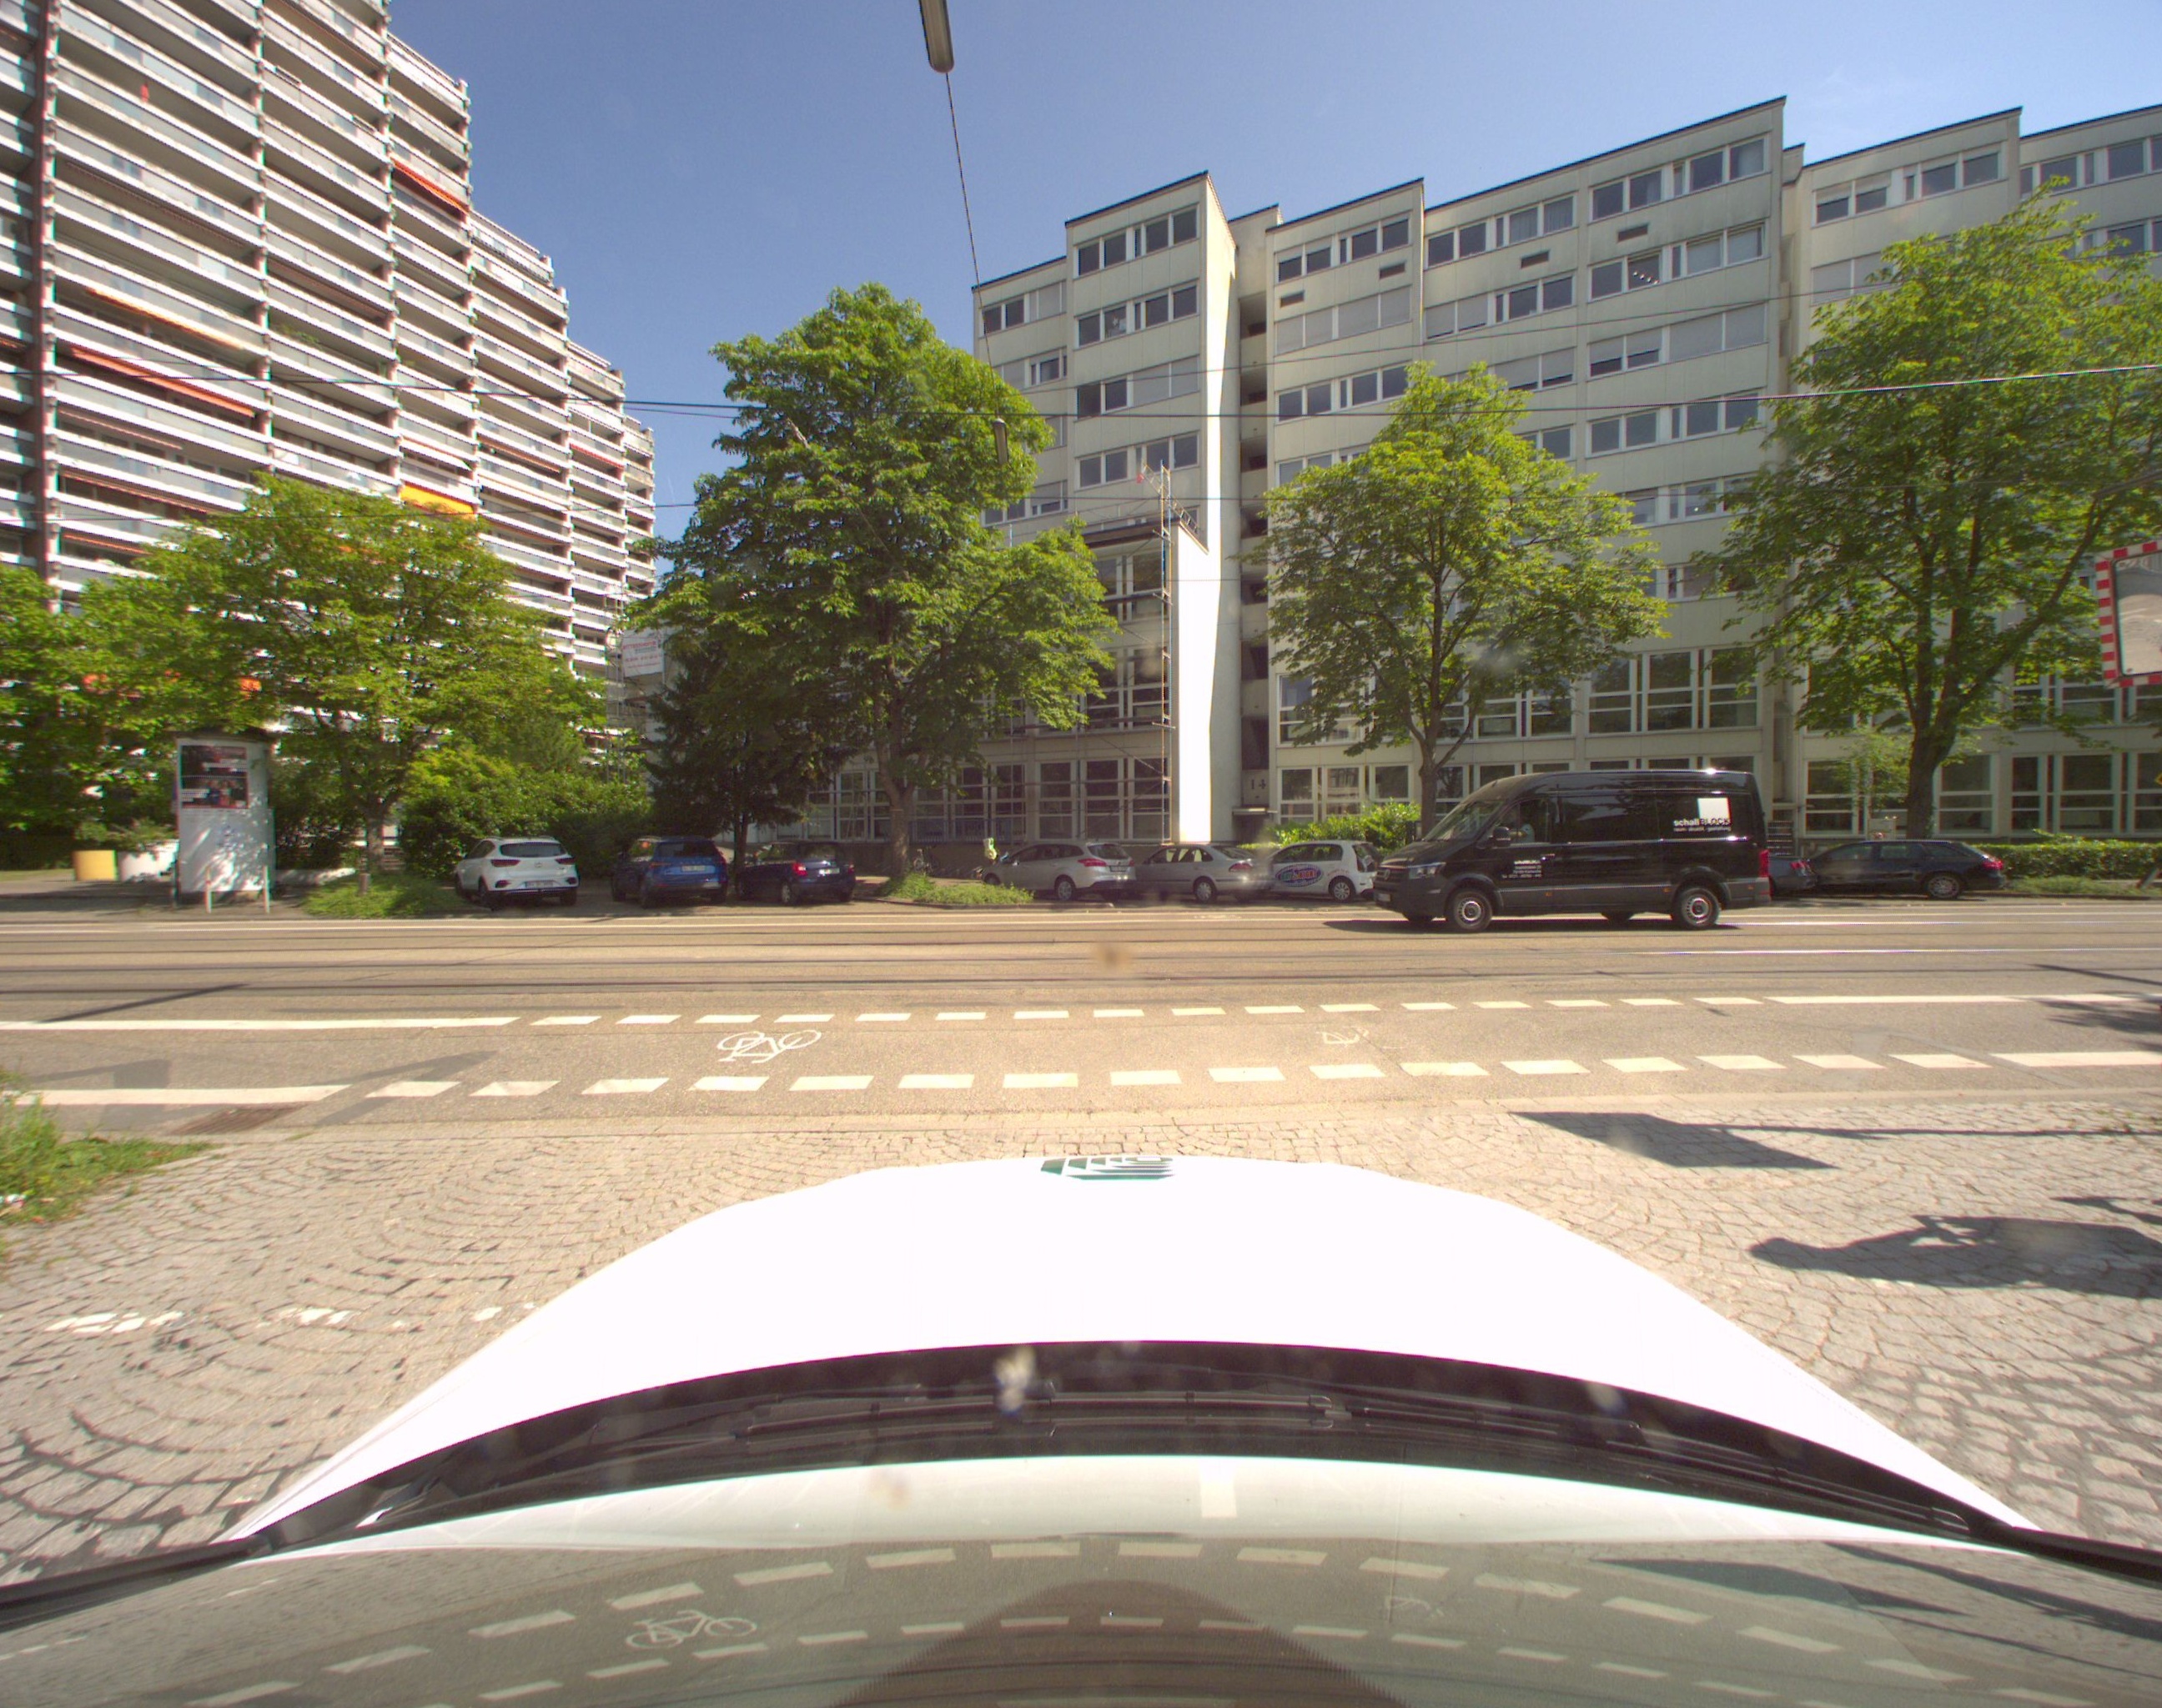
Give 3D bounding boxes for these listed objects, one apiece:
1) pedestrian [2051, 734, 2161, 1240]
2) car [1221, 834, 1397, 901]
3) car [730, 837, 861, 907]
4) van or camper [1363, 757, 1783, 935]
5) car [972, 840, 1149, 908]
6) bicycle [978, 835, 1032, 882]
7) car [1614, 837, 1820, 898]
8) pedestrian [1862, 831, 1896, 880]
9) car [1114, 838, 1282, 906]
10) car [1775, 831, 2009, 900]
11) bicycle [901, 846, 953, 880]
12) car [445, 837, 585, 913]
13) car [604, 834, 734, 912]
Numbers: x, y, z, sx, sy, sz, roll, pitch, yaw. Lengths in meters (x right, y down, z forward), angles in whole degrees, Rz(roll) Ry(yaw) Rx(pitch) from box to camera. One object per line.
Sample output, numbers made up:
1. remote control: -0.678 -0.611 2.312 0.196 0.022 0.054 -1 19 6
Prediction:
1. pedestrian: 4.413 0.484 2.956 0.843 1.864 0.834 -1 0 24
2. car: 5.616 0.328 20.356 3.896 1.486 1.622 -2 0 45
3. car: -6.935 0.391 19.664 3.415 1.531 1.586 0 1 44
4. van or camper: 7.972 -0.158 13.561 5.827 2.619 2.049 -1 1 -2
5. car: -0.603 0.446 20.251 4.380 1.486 1.795 0 1 44
6. bicycle: -2.467 0.126 26.764 0.655 1.453 2.103 -1 1 30
7. car: 15.705 0.303 20.240 3.896 1.357 1.568 0 1 44
8. pedestrian: 24.286 0.045 24.787 0.619 1.460 0.424 -1 1 -4
9. car: 2.798 0.385 20.052 1.622 1.486 3.897 -2 1 -44
10. car: 19.434 0.240 19.738 3.896 1.486 1.568 0 1 44
11. bicycle: -5.192 0.279 27.626 0.735 1.086 2.213 -1 1 18
12. car: -13.449 0.442 19.283 3.895 1.606 1.831 0 1 42
13. car: -9.980 0.364 19.596 1.790 1.622 3.898 -3 3 -42
